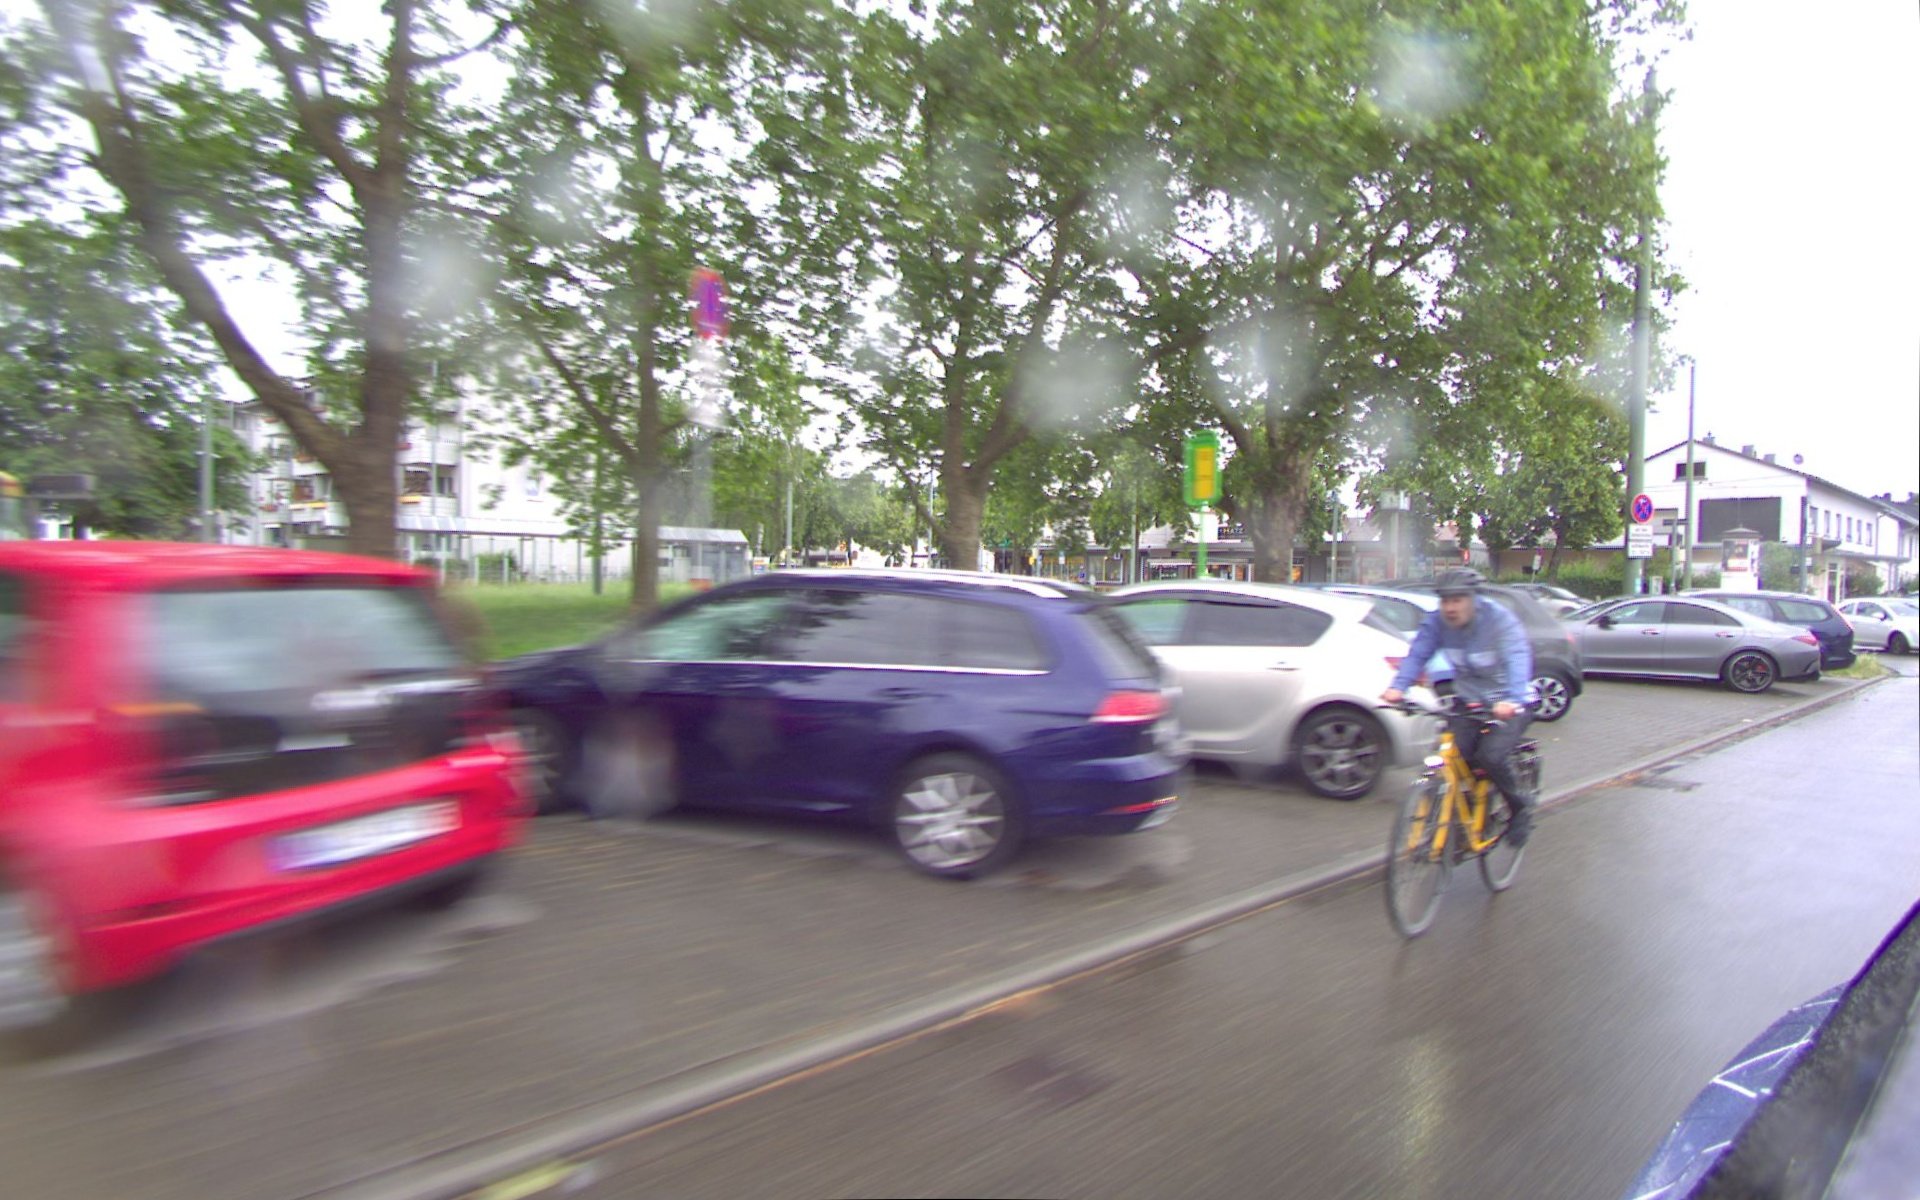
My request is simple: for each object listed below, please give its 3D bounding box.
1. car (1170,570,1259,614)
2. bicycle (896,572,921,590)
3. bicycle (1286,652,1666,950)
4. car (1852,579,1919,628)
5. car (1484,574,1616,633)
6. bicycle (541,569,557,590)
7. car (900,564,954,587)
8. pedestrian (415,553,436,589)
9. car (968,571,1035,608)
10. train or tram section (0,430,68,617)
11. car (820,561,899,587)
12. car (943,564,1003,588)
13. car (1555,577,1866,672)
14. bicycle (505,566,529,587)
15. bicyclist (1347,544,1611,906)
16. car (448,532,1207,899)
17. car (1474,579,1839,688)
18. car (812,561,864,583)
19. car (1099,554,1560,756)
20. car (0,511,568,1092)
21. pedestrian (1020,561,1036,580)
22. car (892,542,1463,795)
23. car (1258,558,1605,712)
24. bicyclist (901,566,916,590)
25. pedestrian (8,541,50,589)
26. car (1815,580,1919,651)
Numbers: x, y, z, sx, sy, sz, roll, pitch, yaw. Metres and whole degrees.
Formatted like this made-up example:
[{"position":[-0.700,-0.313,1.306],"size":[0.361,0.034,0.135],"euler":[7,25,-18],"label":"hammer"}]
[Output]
[{"position":[12.694,-0.443,50.627],"size":[1.965,2.038,3.997],"euler":[-3,4,-38],"label":"car"},{"position":[-3.311,-1.245,65.321],"size":[0.723,1.144,1.734],"euler":[0,1,32],"label":"bicycle"},{"position":[2.483,0.829,4.791],"size":[1.889,1.086,0.755],"euler":[1,1,-34],"label":"bicycle"},{"position":[34.881,0.152,35.799],"size":[1.960,1.625,4.580],"euler":[-2,3,-29],"label":"car"},{"position":[22.739,0.086,39.117],"size":[1.965,2.038,3.997],"euler":[-3,4,-38],"label":"car"},{"position":[-19.520,-0.972,48.068],"size":[0.370,0.959,1.238],"euler":[-2,3,-36],"label":"bicycle"},{"position":[-2.614,-1.978,80.793],"size":[4.020,1.730,1.896],"euler":[-2,3,-41],"label":"car"},{"position":[-23.894,-1.318,45.248],"size":[0.625,1.591,0.789],"euler":[-3,3,-40],"label":"pedestrian"},{"position":[2.494,-0.684,61.798],"size":[1.965,2.038,3.997],"euler":[-3,4,-38],"label":"car"},{"position":[-20.627,-1.303,13.815],"size":[2.668,3.634,14.716],"euler":[0,2,6],"label":"train or tram section"},{"position":[-6.492,-1.674,65.640],"size":[4.753,1.476,1.999],"euler":[2,0,-39],"label":"car"},{"position":[0.978,-1.833,75.328],"size":[4.262,1.694,1.998],"euler":[-2,3,-41],"label":"car"},{"position":[13.384,0.379,18.373],"size":[4.125,1.494,1.793],"euler":[2,1,20],"label":"car"},{"position":[-20.682,-1.109,47.223],"size":[1.299,0.959,0.412],"euler":[2,3,36],"label":"bicycle"},{"position":[2.421,0.515,4.742],"size":[0.830,1.504,0.754],"euler":[2,1,-34],"label":"bicyclist"},{"position":[-0.706,0.450,6.028],"size":[4.069,1.498,1.856],"euler":[3,2,18],"label":"car"},{"position":[10.974,0.455,16.374],"size":[4.494,1.494,1.792],"euler":[2,1,21],"label":"car"},{"position":[-11.253,-2.579,93.513],"size":[4.470,1.967,1.896],"euler":[-2,3,-41],"label":"car"},{"position":[3.446,0.434,10.180],"size":[3.936,1.518,1.820],"euler":[4,4,10],"label":"car"},{"position":[-3.550,0.408,4.080],"size":[3.560,1.498,1.625],"euler":[4,2,24],"label":"car"},{"position":[6.124,-2.665,91.691],"size":[1.058,1.735,0.949],"euler":[1,2,-28],"label":"pedestrian"},{"position":[1.639,0.377,8.188],"size":[3.943,1.571,1.953],"euler":[3,3,15],"label":"car"},{"position":[5.538,0.336,12.373],"size":[3.465,1.524,1.748],"euler":[3,4,14],"label":"car"},{"position":[-3.306,-1.408,65.316],"size":[0.719,1.535,0.691],"euler":[0,1,32],"label":"bicyclist"},{"position":[-38.460,-1.457,41.811],"size":[1.051,1.906,1.171],"euler":[2,4,44],"label":"pedestrian"},{"position":[24.569,0.381,26.179],"size":[1.933,1.571,3.989],"euler":[2,4,11],"label":"car"}]
